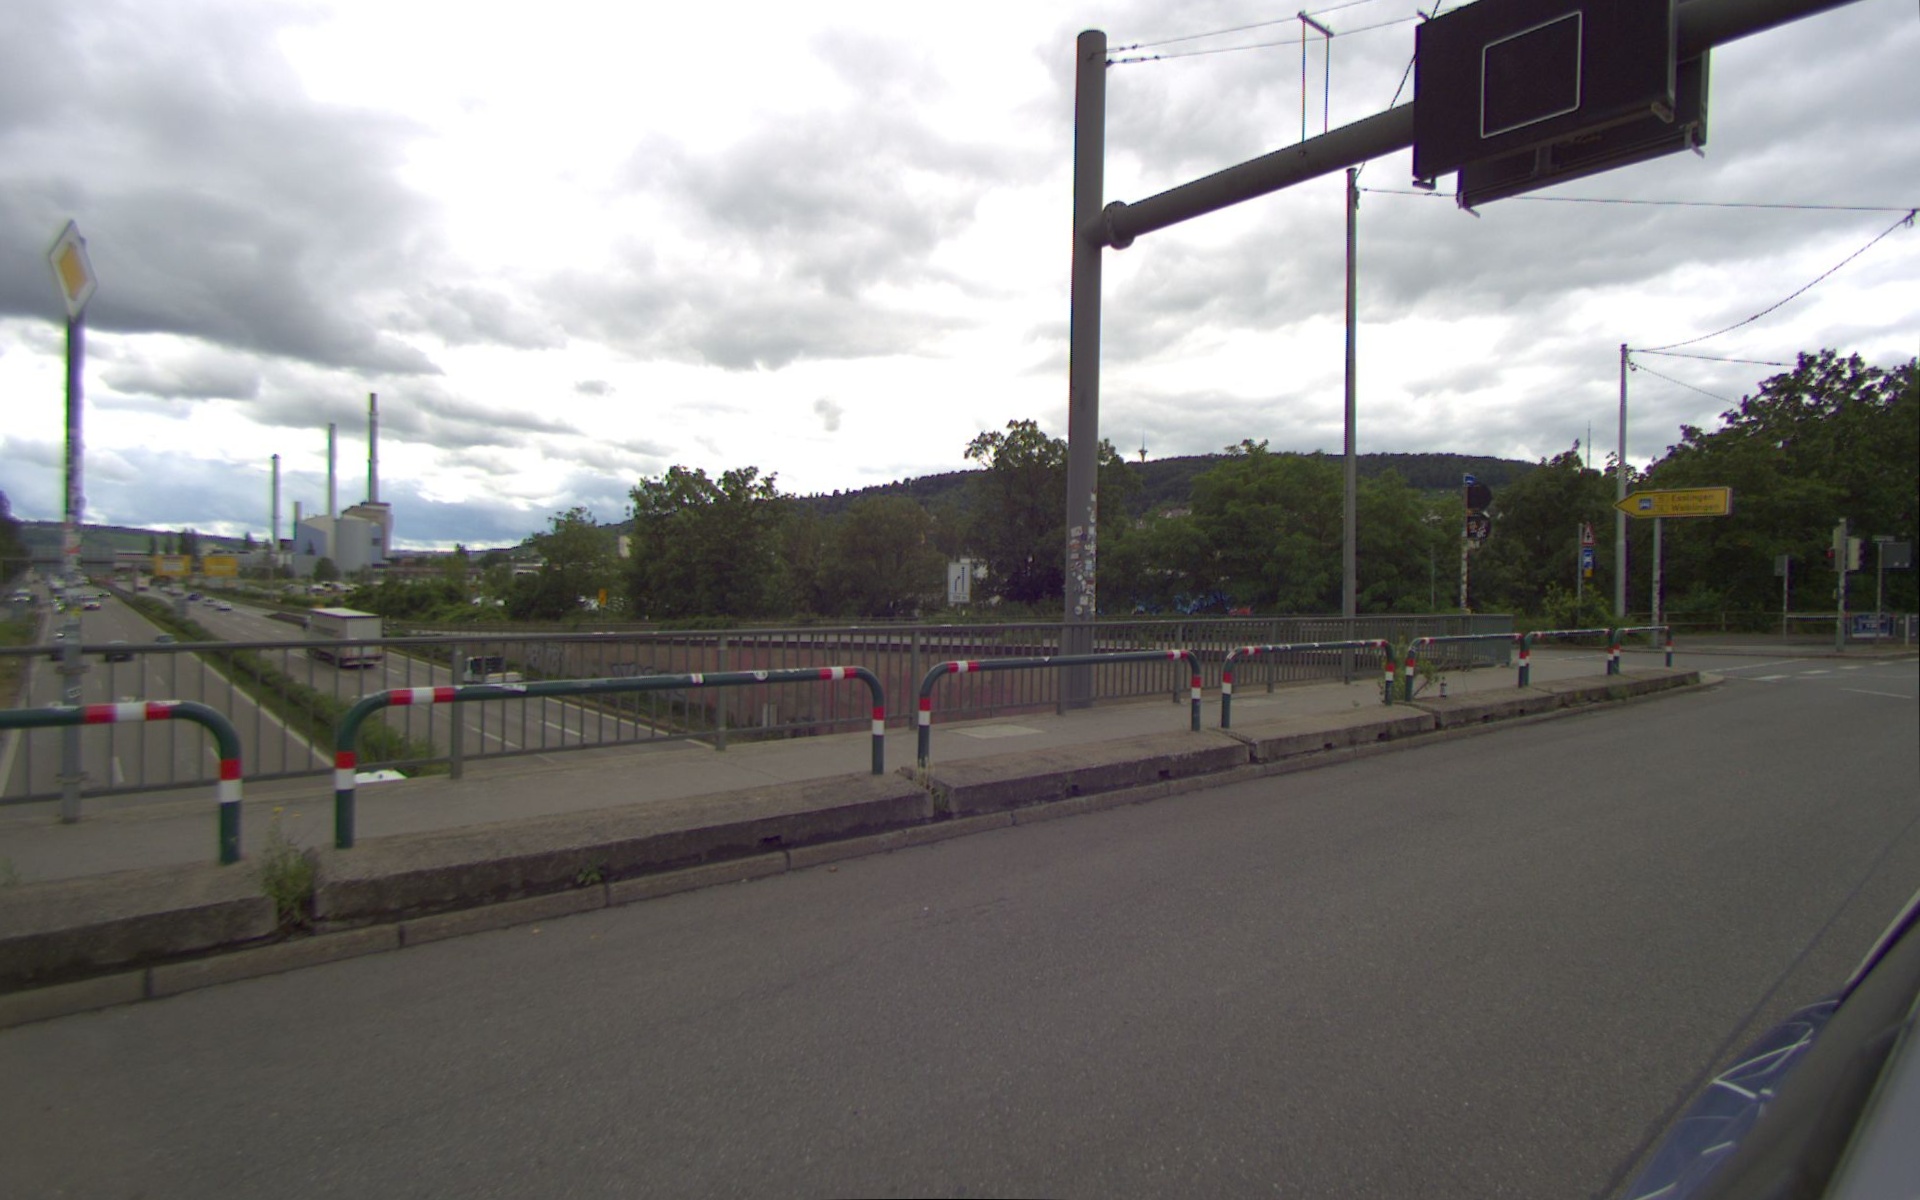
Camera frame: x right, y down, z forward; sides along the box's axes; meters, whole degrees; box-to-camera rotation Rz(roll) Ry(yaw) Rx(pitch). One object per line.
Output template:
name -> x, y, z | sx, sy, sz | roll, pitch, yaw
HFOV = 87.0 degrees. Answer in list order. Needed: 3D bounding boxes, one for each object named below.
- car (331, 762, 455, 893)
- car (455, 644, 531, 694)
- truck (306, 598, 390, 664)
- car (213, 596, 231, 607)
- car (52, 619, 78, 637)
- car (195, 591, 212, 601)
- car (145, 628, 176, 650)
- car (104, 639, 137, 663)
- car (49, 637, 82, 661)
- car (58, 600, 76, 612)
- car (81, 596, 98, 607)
car -> -15.265, 5.955, 27.138 | 1.966, 2.400, 4.581 | -2, 1, -41
car -> -29.567, 4.285, 63.928 | 2.868, 2.530, 7.274 | -2, 1, -37
truck -> -49.382, 2.313, 81.403 | 3.527, 4.540, 13.161 | -4, 3, -40
car -> -123.931, 0.223, 170.006 | 1.967, 1.758, 3.986 | -2, 1, -44
car -> -91.776, 2.861, 103.778 | 1.966, 1.728, 4.072 | -2, 1, -41
car -> -141.312, -0.689, 189.019 | 1.967, 1.758, 3.986 | -2, 1, -44
car -> -71.312, 3.455, 90.273 | 1.966, 1.728, 4.072 | -2, 1, -41
car -> -68.740, 4.135, 82.852 | 1.966, 1.728, 4.072 | -2, 1, -41
car -> -74.117, 4.045, 83.912 | 1.966, 1.728, 4.072 | -2, 1, -41
car -> -135.257, 0.851, 153.358 | 1.966, 1.728, 4.072 | -2, 1, -41
car -> -140.167, 0.274, 162.904 | 1.966, 1.728, 4.072 | -2, 1, -41
